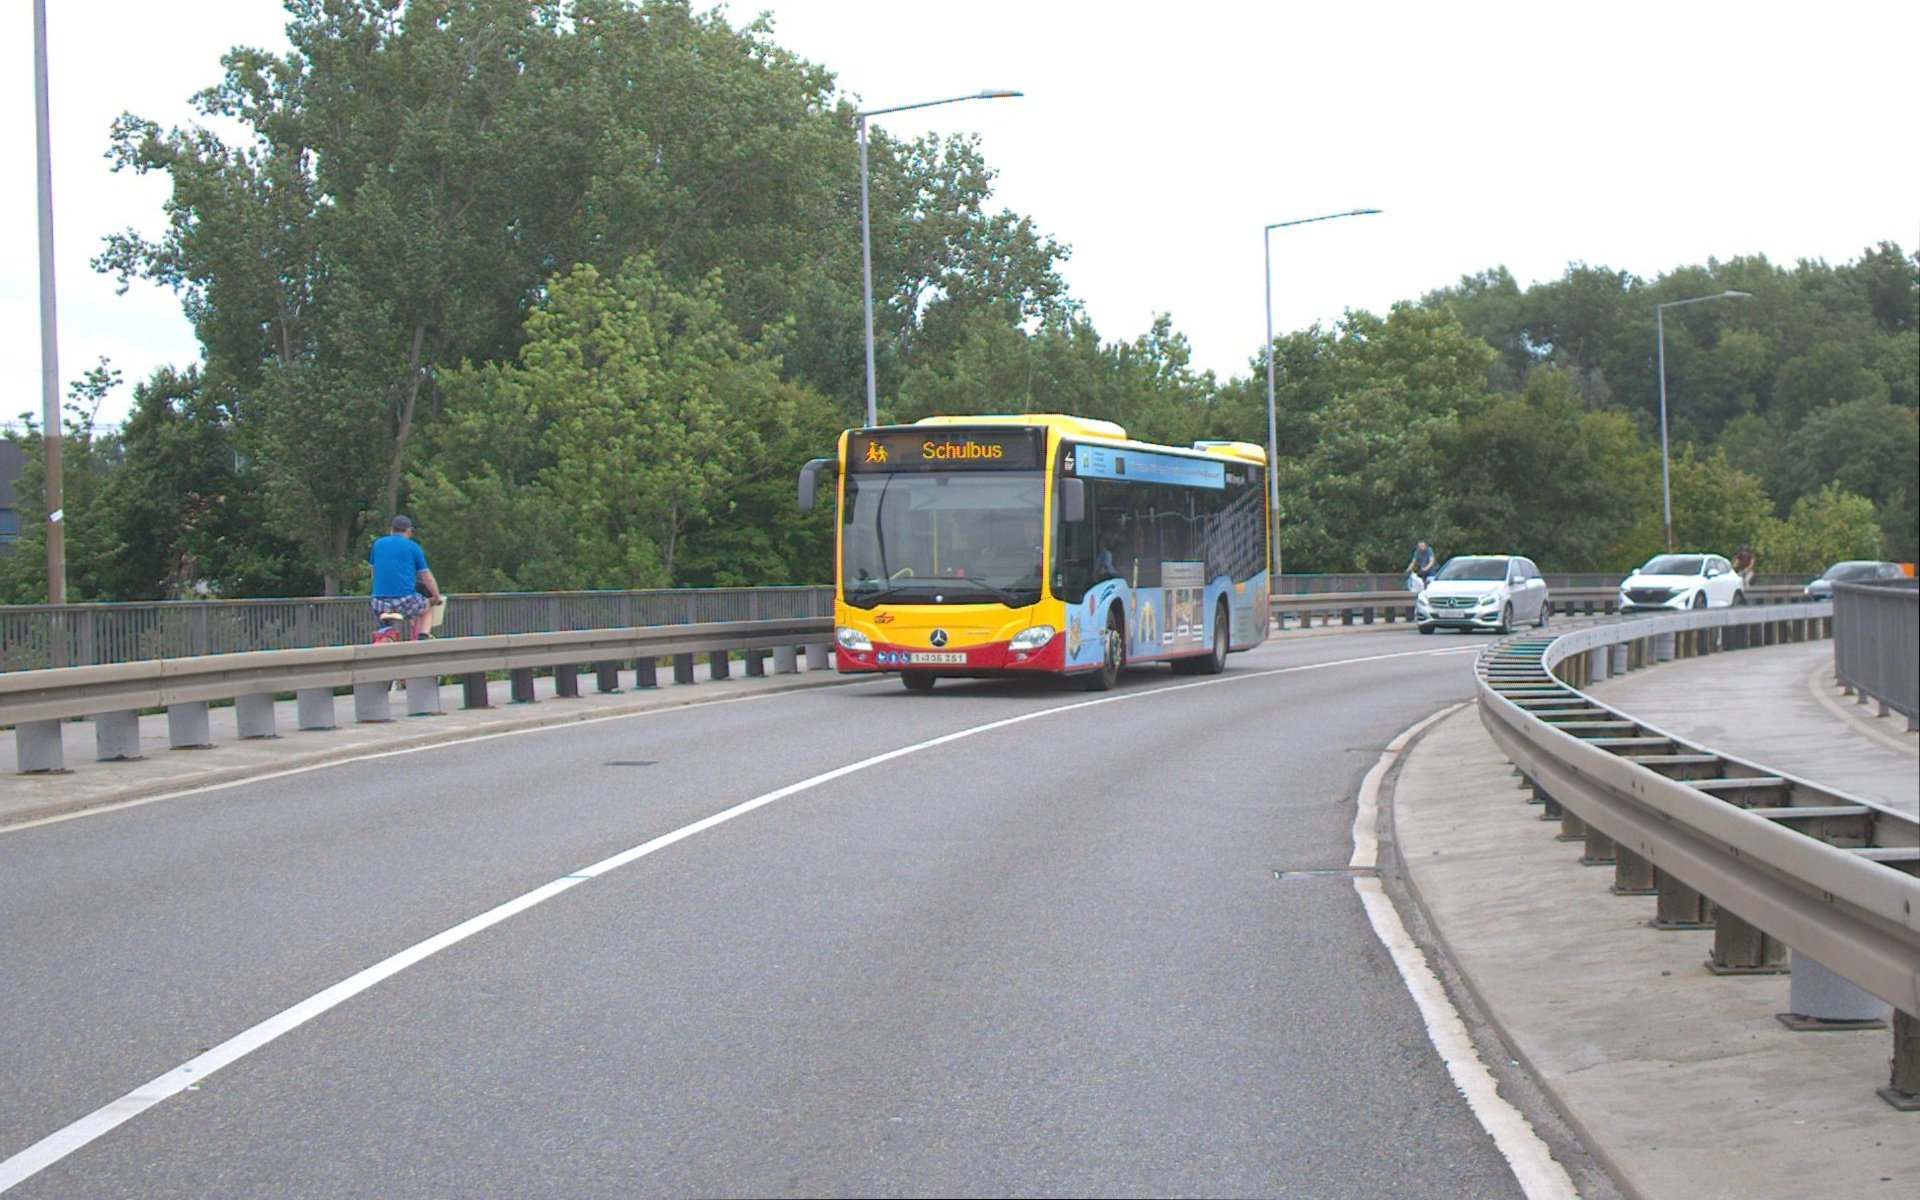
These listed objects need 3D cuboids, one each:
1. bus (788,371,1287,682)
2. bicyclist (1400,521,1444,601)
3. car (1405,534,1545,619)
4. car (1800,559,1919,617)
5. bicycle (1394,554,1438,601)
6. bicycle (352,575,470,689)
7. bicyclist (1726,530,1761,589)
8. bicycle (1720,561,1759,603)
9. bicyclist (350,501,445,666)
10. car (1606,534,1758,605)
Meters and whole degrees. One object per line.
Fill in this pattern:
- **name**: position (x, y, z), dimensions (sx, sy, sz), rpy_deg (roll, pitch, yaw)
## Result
- **bus**: position (1.374, -0.852, 42.254), dimensions (3.034, 3.222, 12.942), rpy_deg (1, 1, 15)
- **bicyclist**: position (10.580, -0.894, 78.755), dimensions (0.849, 1.802, 0.796), rpy_deg (1, 1, 19)
- **car**: position (10.248, -0.473, 68.225), dimensions (1.820, 1.614, 4.393), rpy_deg (1, 1, 21)
- **car**: position (23.694, -0.333, 90.463), dimensions (1.812, 1.472, 4.375), rpy_deg (1, 1, 32)
- **bicycle**: position (10.457, -0.525, 78.785), dimensions (0.646, 1.064, 1.760), rpy_deg (1, 1, 19)
- **bicycle**: position (-5.218, 0.286, 32.760), dimensions (0.493, 1.042, 1.809), rpy_deg (1, 1, 12)
- **bicyclist**: position (22.050, -1.145, 96.793), dimensions (0.772, 1.626, 0.648), rpy_deg (1, 0, 29)
- **bicycle**: position (21.946, -0.505, 96.775), dimensions (0.636, 1.170, 1.903), rpy_deg (1, 1, 27)
- **bicyclist**: position (-5.323, -0.157, 32.552), dimensions (0.610, 1.534, 0.756), rpy_deg (1, 1, 16)
- **car**: position (16.818, -0.705, 79.930), dimensions (1.944, 1.588, 4.765), rpy_deg (1, 1, 32)
